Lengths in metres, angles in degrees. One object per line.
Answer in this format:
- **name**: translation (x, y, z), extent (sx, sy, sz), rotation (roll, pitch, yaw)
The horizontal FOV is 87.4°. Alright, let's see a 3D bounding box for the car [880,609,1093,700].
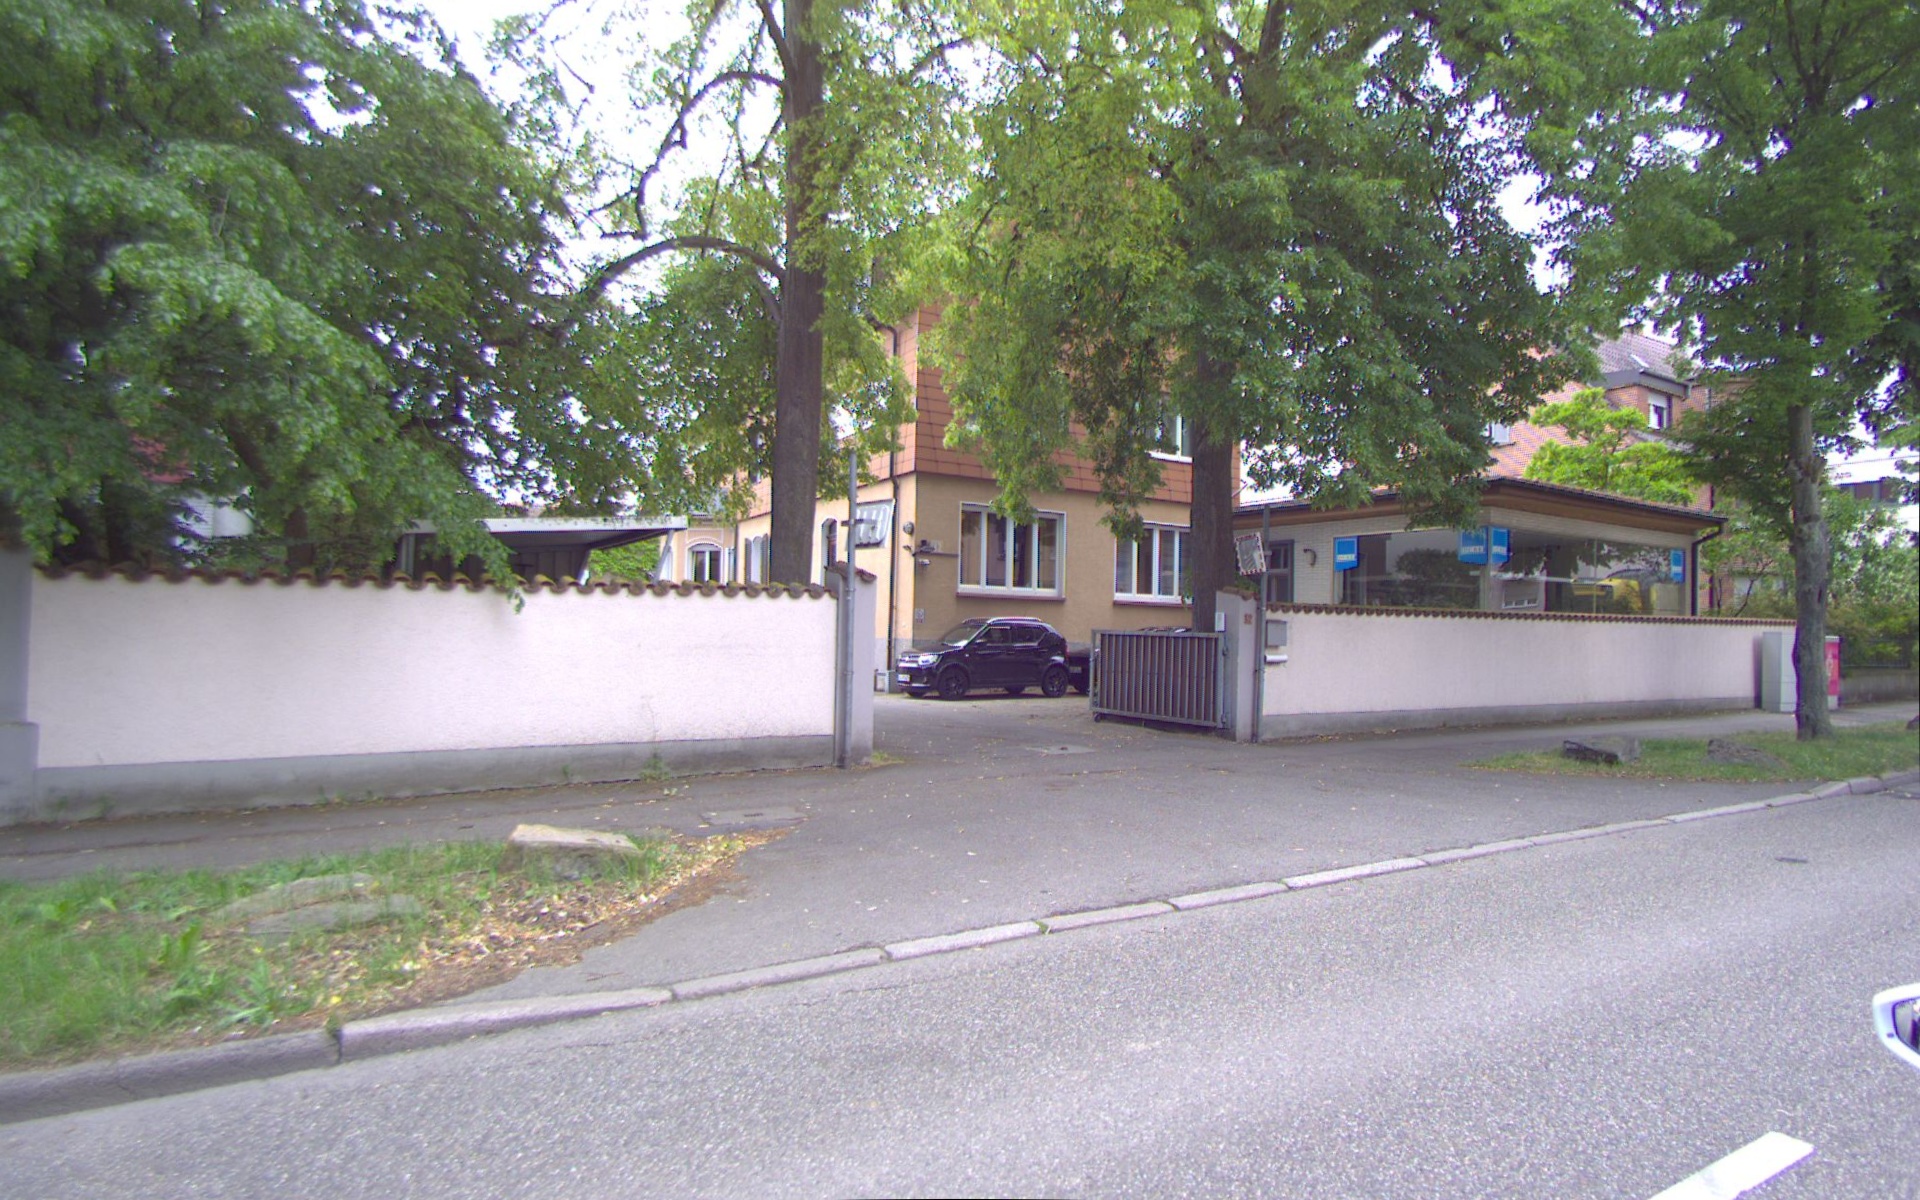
- **car**: translation (0.561, 1.085, 20.277), extent (3.955, 1.661, 1.771), rotation (2, -1, -31)

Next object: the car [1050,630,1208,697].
- **car**: translation (3.739, 1.386, 22.079), extent (3.360, 1.347, 1.333), rotation (2, -1, -32)
